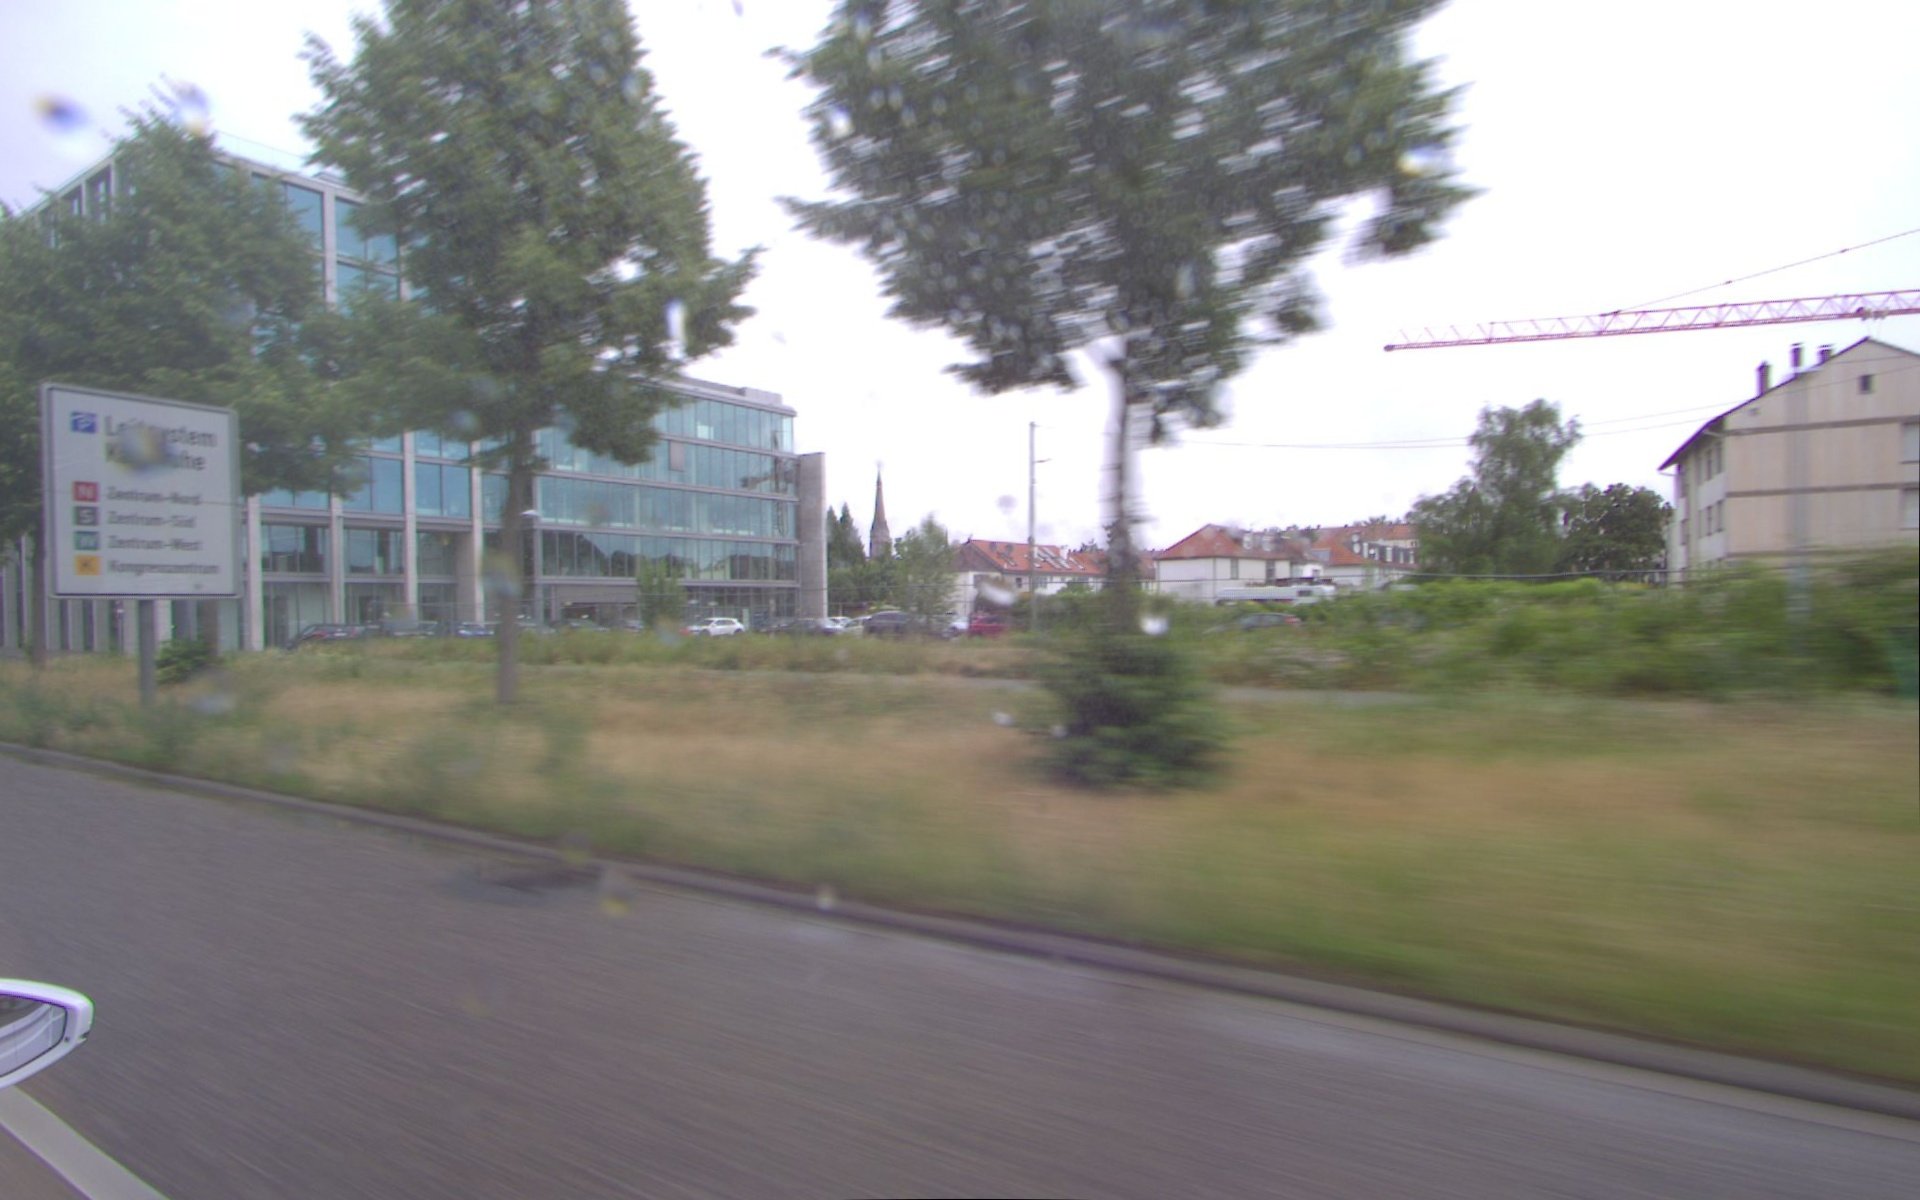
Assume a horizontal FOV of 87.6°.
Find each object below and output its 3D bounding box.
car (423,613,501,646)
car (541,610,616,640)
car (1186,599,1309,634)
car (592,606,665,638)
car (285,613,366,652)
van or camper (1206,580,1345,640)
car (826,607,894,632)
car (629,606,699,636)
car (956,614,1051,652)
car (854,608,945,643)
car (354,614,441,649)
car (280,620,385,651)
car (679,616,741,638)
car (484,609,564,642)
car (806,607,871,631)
[{"bbox_3d":[-23.715,1.373,47.631,3.950,1.474,1.848,-1,0,38],"label":"car"},{"bbox_3d":[-19.846,1.280,51.999,4.177,1.494,1.779,-1,0,38],"label":"car"},{"bbox_3d":[14.454,0.833,50.418,5.580,1.665,2.473,-1,0,30],"label":"car"},{"bbox_3d":[-17.924,1.175,54.102,3.950,1.622,1.848,-1,0,38],"label":"car"},{"bbox_3d":[-27.359,1.384,43.135,3.953,1.601,1.846,-1,0,40],"label":"car"},{"bbox_3d":[17.040,0.557,54.185,6.682,3.033,2.900,-1,0,33],"label":"van or camper"},{"bbox_3d":[-6.106,1.195,61.044,3.976,1.465,1.692,-1,0,34],"label":"car"},{"bbox_3d":[-16.544,1.151,55.913,3.950,1.622,1.848,-1,0,38],"label":"car"},{"bbox_3d":[1.939,1.445,45.064,3.950,1.622,1.848,-1,-1,38],"label":"car"},{"bbox_3d":[-2.913,1.216,47.932,4.180,1.622,1.848,-1,-1,38],"label":"car"},{"bbox_3d":[-25.422,1.405,45.174,4.500,1.474,1.848,-1,0,38],"label":"car"},{"bbox_3d":[-32.293,1.803,51.637,1.955,1.457,4.203,2,1,38],"label":"car"},{"bbox_3d":[-17.655,1.898,70.822,1.838,1.457,3.972,-1,0,38],"label":"car"},{"bbox_3d":[-21.922,1.266,50.304,4.361,1.622,1.848,-1,0,38],"label":"car"},{"bbox_3d":[-8.107,1.254,66.743,3.972,1.516,1.852,-1,0,31],"label":"car"}]
